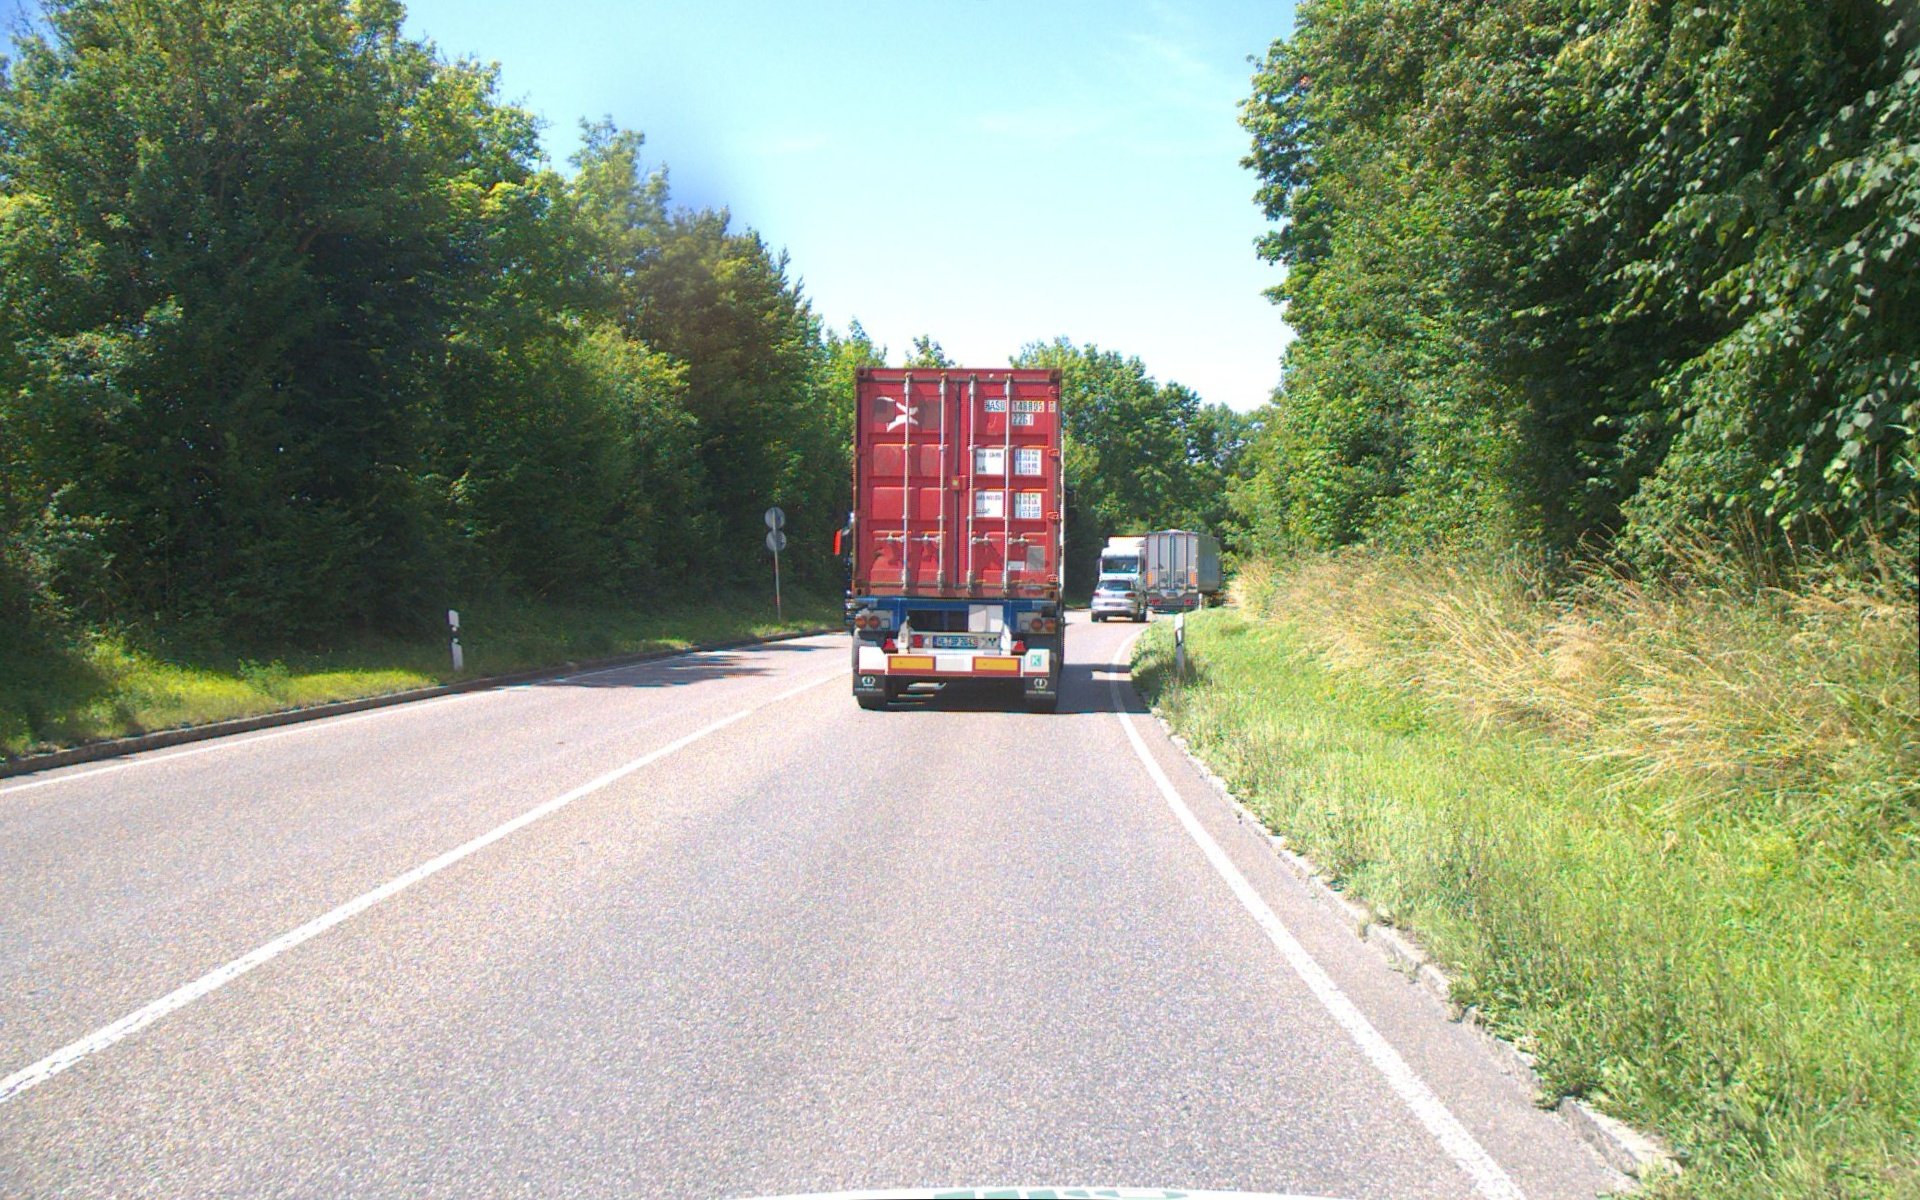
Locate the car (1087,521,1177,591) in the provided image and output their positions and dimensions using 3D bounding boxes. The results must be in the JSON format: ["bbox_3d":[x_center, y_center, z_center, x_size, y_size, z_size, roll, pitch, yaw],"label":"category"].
[{"bbox_3d":[10.543,-2.607,100.035,3.196,3.941,12.755,0,1,16],"label":"car"}]

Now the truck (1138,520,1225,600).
[{"bbox_3d":[11.530,-1.998,85.016,2.859,3.781,13.371,1,1,14],"label":"truck"}]

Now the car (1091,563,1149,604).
[{"bbox_3d":[6.144,-0.622,63.194,1.793,1.458,4.004,-2,0,11],"label":"car"}]

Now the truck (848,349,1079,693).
[{"bbox_3d":[0.387,-0.971,25.410,2.592,3.873,13.365,0,1,3],"label":"truck"}]

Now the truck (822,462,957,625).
[{"bbox_3d":[-1.842,-1.508,46.029,2.859,4.256,5.923,0,0,6],"label":"truck"}]
